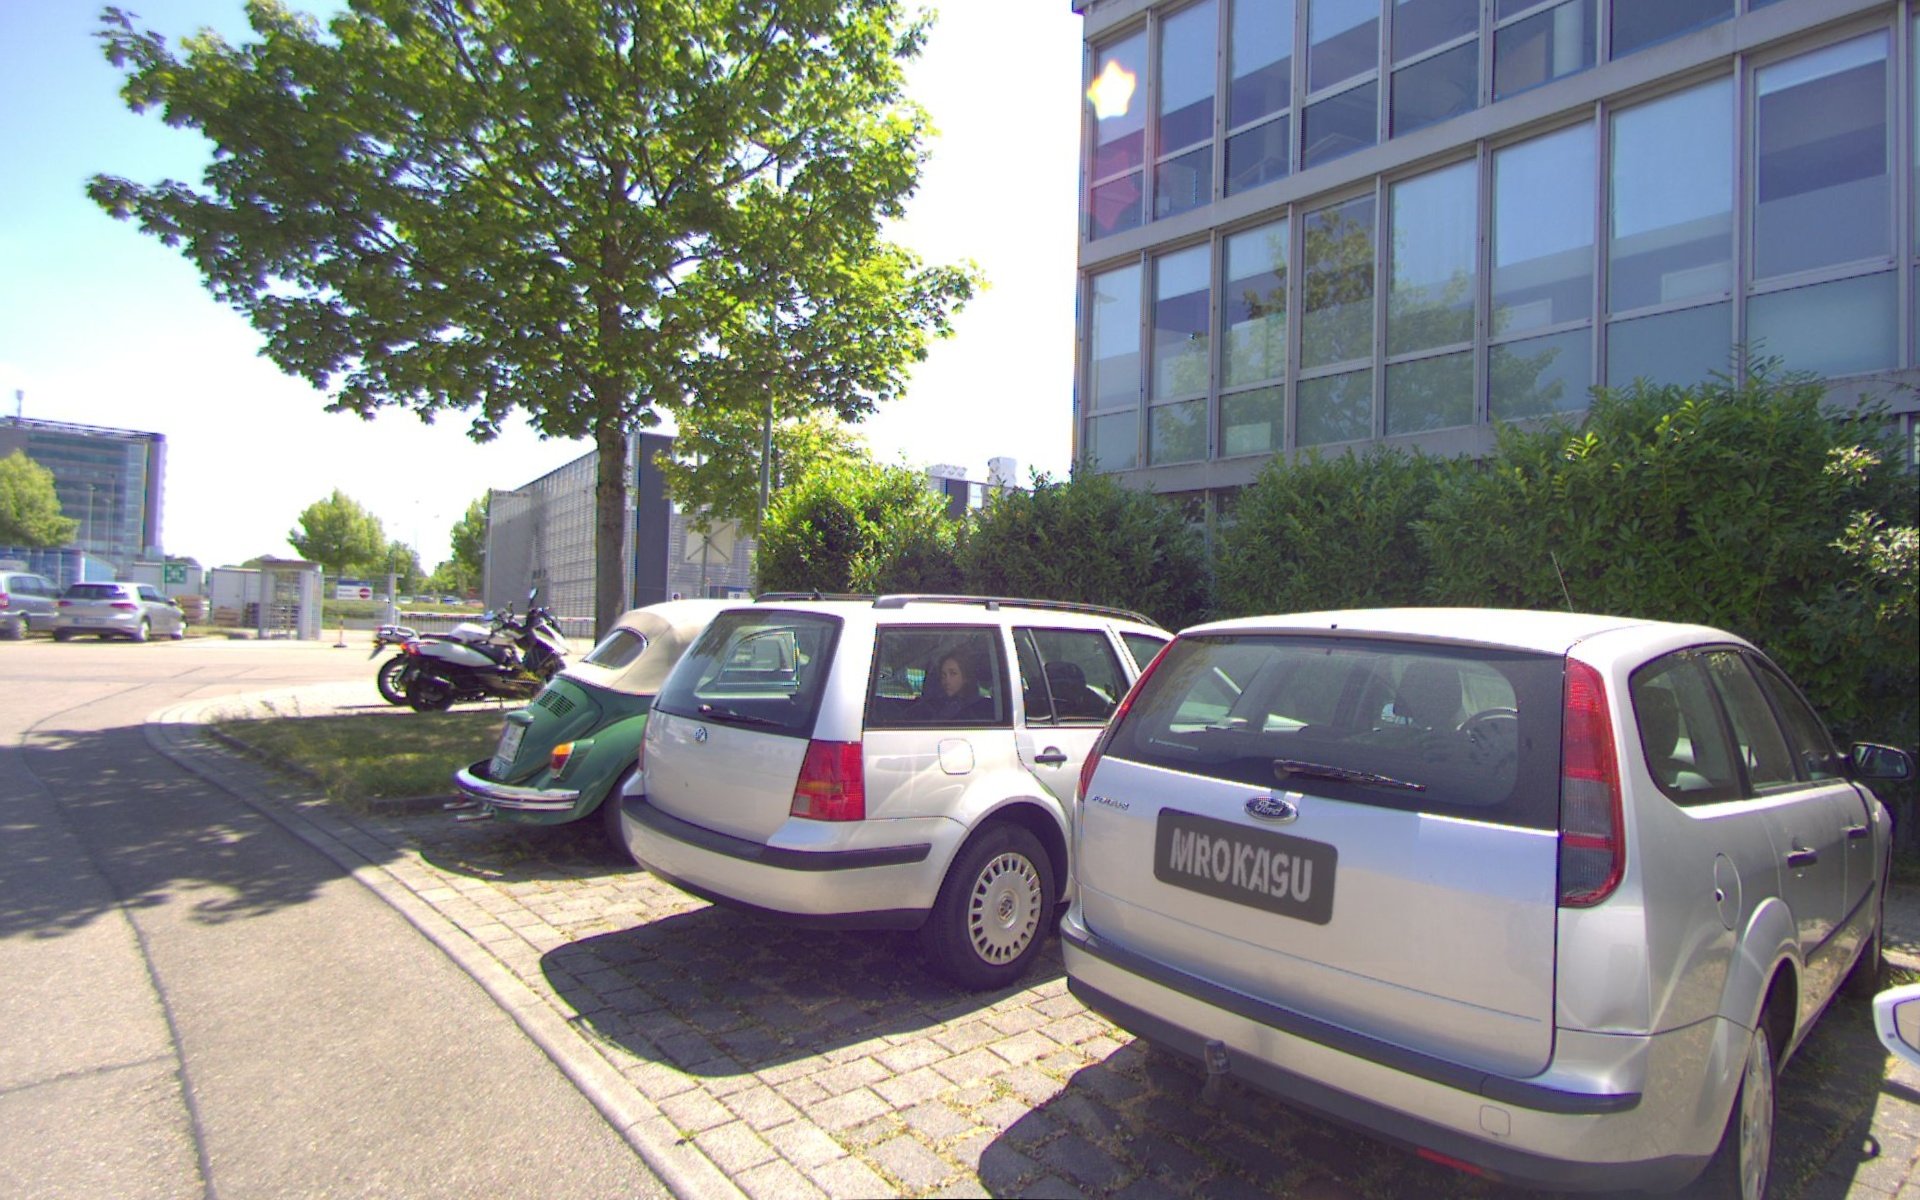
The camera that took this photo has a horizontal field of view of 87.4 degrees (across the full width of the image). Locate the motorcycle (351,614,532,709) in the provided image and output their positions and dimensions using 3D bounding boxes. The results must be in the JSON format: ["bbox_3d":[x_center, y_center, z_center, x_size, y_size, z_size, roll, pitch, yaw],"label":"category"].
[{"bbox_3d":[-6.588,0.770,12.854,1.976,1.123,0.478,2,0,-45],"label":"motorcycle"}]

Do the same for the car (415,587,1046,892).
[{"bbox_3d":[-1.317,0.742,6.806,3.866,1.467,1.631,3,-1,-44],"label":"car"}]

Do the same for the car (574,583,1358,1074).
[{"bbox_3d":[0.330,0.762,5.022,3.866,1.499,1.631,3,-1,-44],"label":"car"}]

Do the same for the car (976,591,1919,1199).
[{"bbox_3d":[2.237,0.816,3.732,4.315,1.499,1.704,3,-1,-41],"label":"car"}]

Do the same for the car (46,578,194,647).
[{"bbox_3d":[-21.011,0.301,25.315,1.629,1.542,3.980,2,-1,-21],"label":"car"}]

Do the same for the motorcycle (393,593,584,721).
[{"bbox_3d":[-5.541,0.653,11.914,1.976,1.408,0.478,2,0,-45],"label":"motorcycle"}]

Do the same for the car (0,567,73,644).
[{"bbox_3d":[-23.322,0.089,24.469,1.752,1.761,3.968,3,-1,-30],"label":"car"}]

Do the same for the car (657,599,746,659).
[{"bbox_3d":[-7.631,0.817,29.370,1.971,1.616,3.979,2,-1,-22],"label":"car"}]
